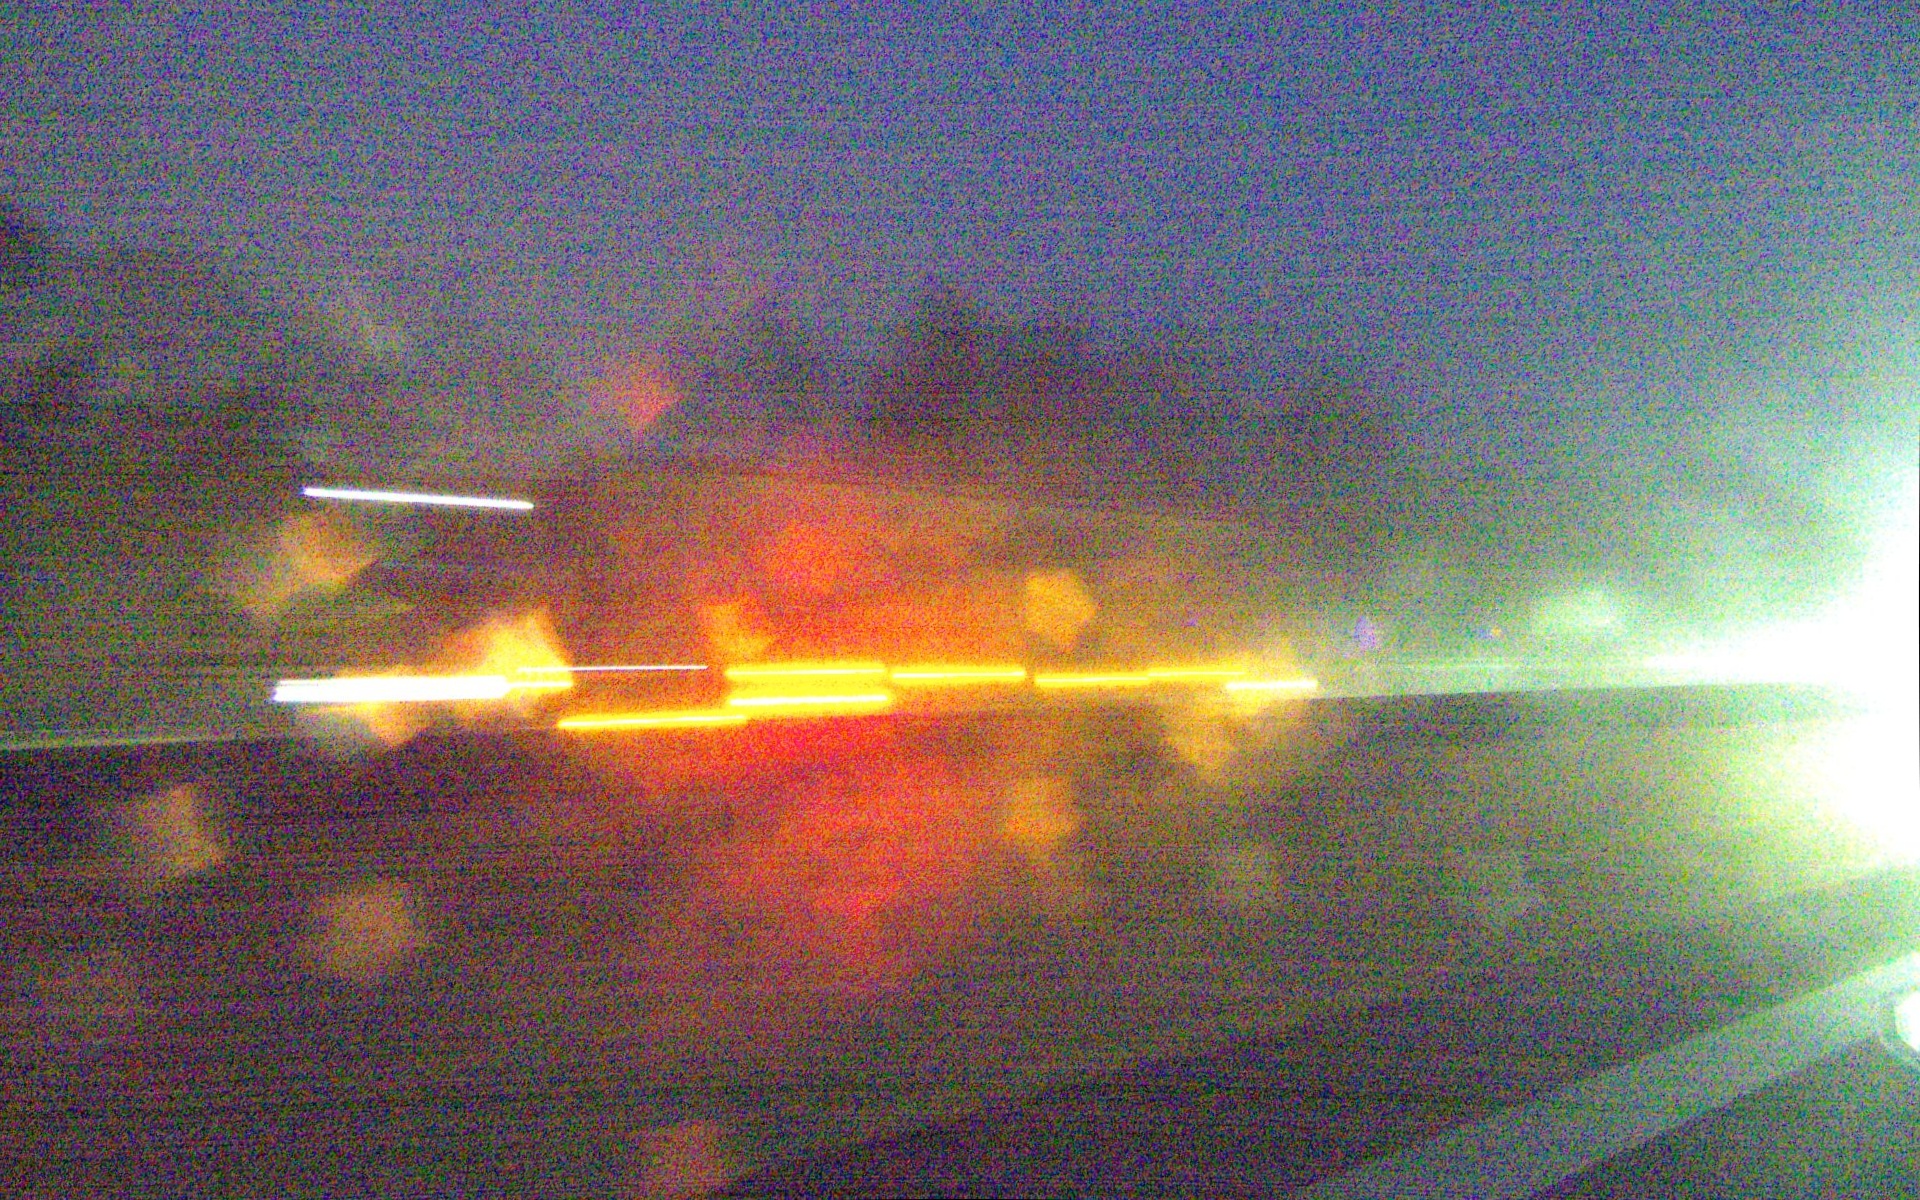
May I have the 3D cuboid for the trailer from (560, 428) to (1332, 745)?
[{"bbox_3d":[0.638,-0.061,18.704,14.688,4.326,2.958,2,3,-30],"label":"trailer"}]

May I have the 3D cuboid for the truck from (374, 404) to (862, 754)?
[{"bbox_3d":[-5.111,-0.245,15.292,6.428,4.326,2.958,2,3,-30],"label":"truck"}]
